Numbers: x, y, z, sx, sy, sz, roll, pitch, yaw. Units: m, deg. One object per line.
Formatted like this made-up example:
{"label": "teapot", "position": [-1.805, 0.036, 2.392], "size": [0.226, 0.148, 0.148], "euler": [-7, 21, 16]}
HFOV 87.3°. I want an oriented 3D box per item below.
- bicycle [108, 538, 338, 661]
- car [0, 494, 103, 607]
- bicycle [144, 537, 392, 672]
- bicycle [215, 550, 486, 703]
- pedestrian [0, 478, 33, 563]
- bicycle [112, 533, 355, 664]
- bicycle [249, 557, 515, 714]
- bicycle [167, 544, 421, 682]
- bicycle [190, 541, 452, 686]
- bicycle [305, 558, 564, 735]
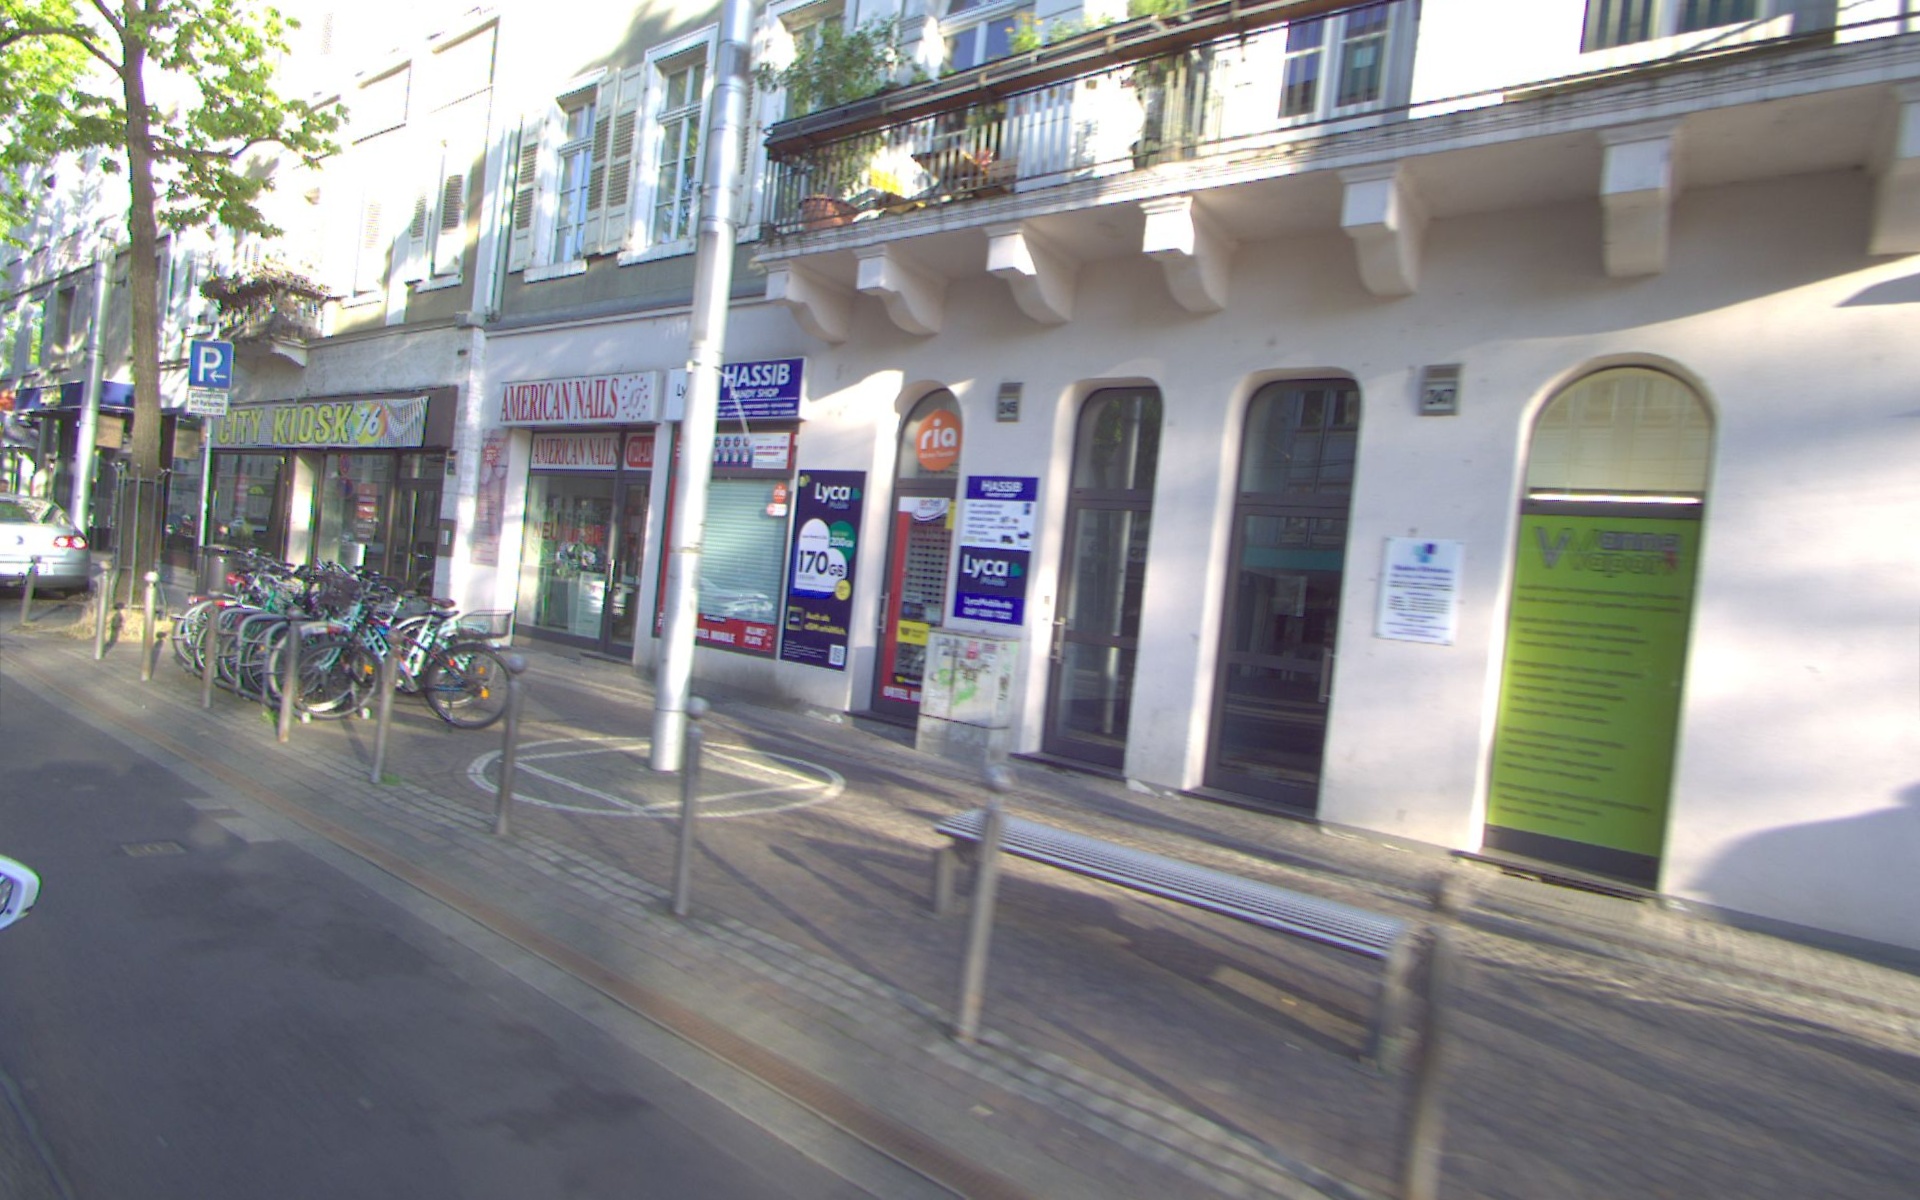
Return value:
{"label": "bicycle", "position": [-7.736, 0.003, 10.644], "size": [0.554, 1.170, 1.862], "euler": [6, 3, 38]}
{"label": "car", "position": [-14.154, -0.810, 14.571], "size": [4.355, 1.460, 1.772], "euler": [6, 4, 37]}
{"label": "bicycle", "position": [-6.740, 0.084, 9.899], "size": [0.554, 1.169, 1.864], "euler": [6, 0, 38]}
{"label": "bicycle", "position": [-5.194, 0.259, 8.693], "size": [0.554, 1.169, 1.864], "euler": [6, 0, 38]}
{"label": "pedestrian", "position": [-19.508, -1.644, 20.443], "size": [0.744, 1.665, 0.802], "euler": [7, 3, 36]}
{"label": "bicycle", "position": [-7.322, 0.024, 10.233], "size": [0.554, 1.169, 1.864], "euler": [6, 0, 38]}
{"label": "bicycle", "position": [-4.761, 0.326, 8.426], "size": [0.342, 1.169, 1.864], "euler": [6, 1, 38]}
{"label": "bicycle", "position": [-6.253, 0.163, 9.546], "size": [0.554, 1.169, 1.864], "euler": [6, 0, 38]}
{"label": "bicycle", "position": [-5.732, 0.165, 9.136], "size": [0.554, 1.169, 1.864], "euler": [6, 0, 38]}
{"label": "bicycle", "position": [-4.042, 0.358, 7.804], "size": [1.651, 1.169, 0.461], "euler": [6, 1, -3]}
